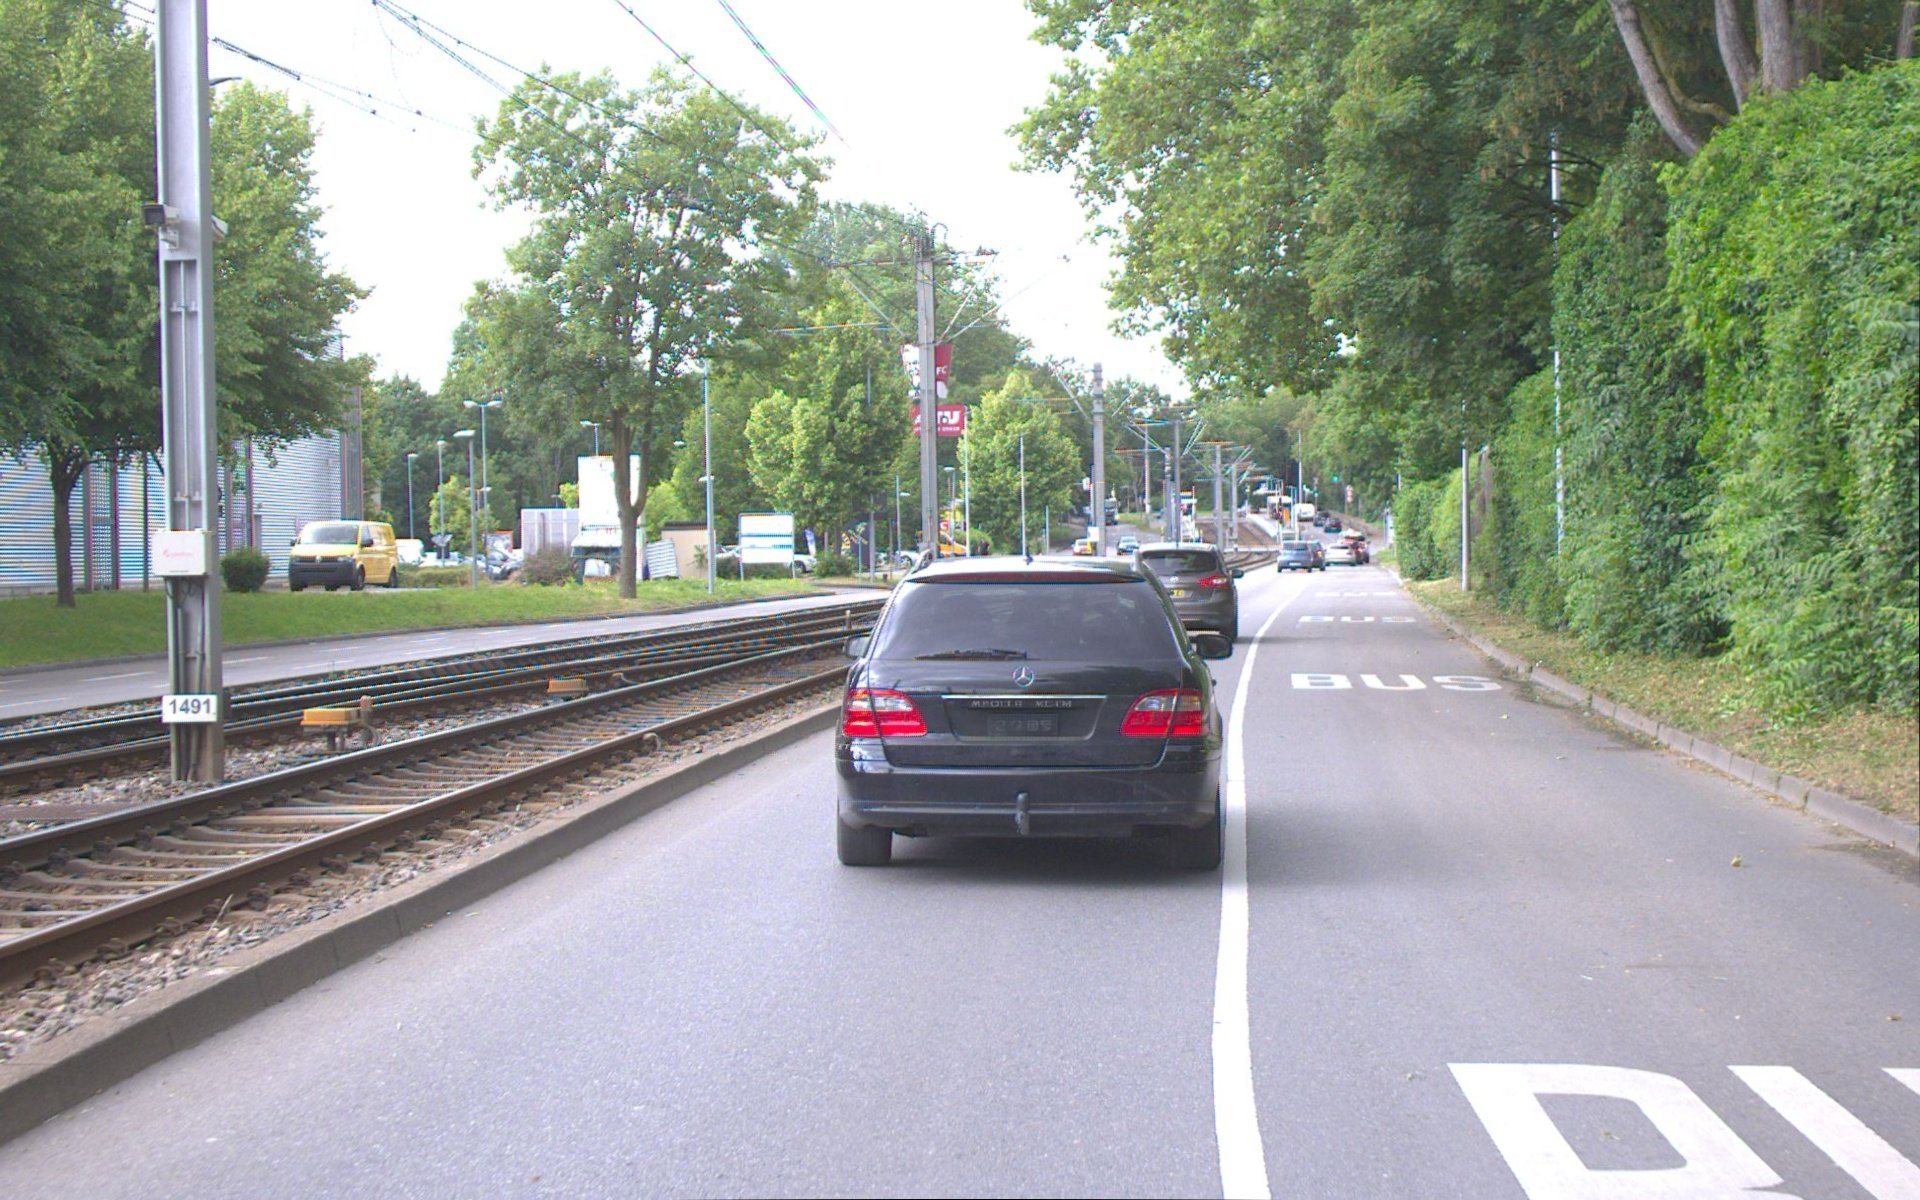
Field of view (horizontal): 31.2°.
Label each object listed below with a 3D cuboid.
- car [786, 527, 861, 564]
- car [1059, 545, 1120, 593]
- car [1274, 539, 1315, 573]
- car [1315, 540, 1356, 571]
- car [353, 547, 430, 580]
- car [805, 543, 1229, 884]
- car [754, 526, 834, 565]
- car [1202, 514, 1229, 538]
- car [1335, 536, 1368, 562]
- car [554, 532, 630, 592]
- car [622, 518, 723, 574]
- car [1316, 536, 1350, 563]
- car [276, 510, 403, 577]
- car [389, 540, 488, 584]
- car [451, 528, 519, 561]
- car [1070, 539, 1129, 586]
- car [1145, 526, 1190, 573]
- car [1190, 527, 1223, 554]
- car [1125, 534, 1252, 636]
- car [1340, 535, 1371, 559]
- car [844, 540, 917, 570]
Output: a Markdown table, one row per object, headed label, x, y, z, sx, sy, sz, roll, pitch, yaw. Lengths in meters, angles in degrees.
| label | x | y | z | sx | sy | sz | roll | pitch | yaw |
| --- | --- | --- | --- | --- | --- | --- | --- | --- | --- |
| car | -6.893 | -2.764 | 173.689 | 3.692 | 1.809 | 1.795 | -1 | 1 | -5 |
| car | 4.154 | -1.007 | 109.987 | 1.825 | 1.524 | 3.985 | 0 | 1 | 4 |
| car | 15.628 | -2.066 | 160.817 | 1.825 | 1.524 | 4.415 | 0 | 1 | 4 |
| car | 18.544 | -2.218 | 169.878 | 1.825 | 1.524 | 4.178 | 0 | 1 | 4 |
| car | -32.450 | -2.087 | 196.412 | 3.987 | 1.674 | 2.000 | -3 | 0 | 1 |
| car | 0.367 | 0.468 | 17.092 | 1.833 | 1.473 | 4.415 | 0 | 1 | 3 |
| car | -7.855 | -2.560 | 162.120 | 3.692 | 1.809 | 1.795 | -1 | 1 | -5 |
| car | 17.644 | -5.119 | 237.648 | 1.842 | 1.639 | 3.885 | 0 | 1 | 3 |
| car | 23.652 | -3.080 | 207.722 | 1.825 | 1.524 | 4.178 | 0 | 1 | 4 |
| car | -12.950 | -1.335 | 121.211 | 1.994 | 2.007 | 4.000 | -3 | 0 | 2 |
| car | -11.848 | -2.206 | 141.803 | 3.986 | 2.116 | 2.000 | -3 | 0 | -2 |
| car | 21.580 | -2.927 | 199.118 | 1.825 | 1.524 | 4.178 | 0 | 1 | 4 |
| car | -16.606 | -1.524 | 92.208 | 1.994 | 1.737 | 4.986 | 0 | 1 | 7 |
| car | -22.276 | -1.634 | 146.766 | 3.986 | 1.674 | 2.000 | -3 | 0 | -12 |
| car | -31.323 | -3.664 | 226.919 | 3.988 | 2.007 | 2.000 | -3 | 0 | 7 |
| car | 4.685 | -1.263 | 115.122 | 1.825 | 1.524 | 3.985 | 0 | 1 | 4 |
| car | 9.339 | -2.255 | 154.691 | 1.892 | 2.007 | 3.897 | -3 | 0 | 3 |
| car | 13.780 | -3.326 | 192.126 | 1.825 | 1.524 | 4.178 | 0 | 1 | 4 |
| car | 3.512 | -0.259 | 53.537 | 1.825 | 1.524 | 4.416 | 0 | 1 | 2 |
| car | 25.327 | -3.412 | 220.244 | 1.825 | 1.524 | 4.178 | 0 | 1 | 4 |
| car | -4.541 | -2.577 | 196.797 | 3.988 | 1.639 | 2.000 | 0 | 1 | 6 |
